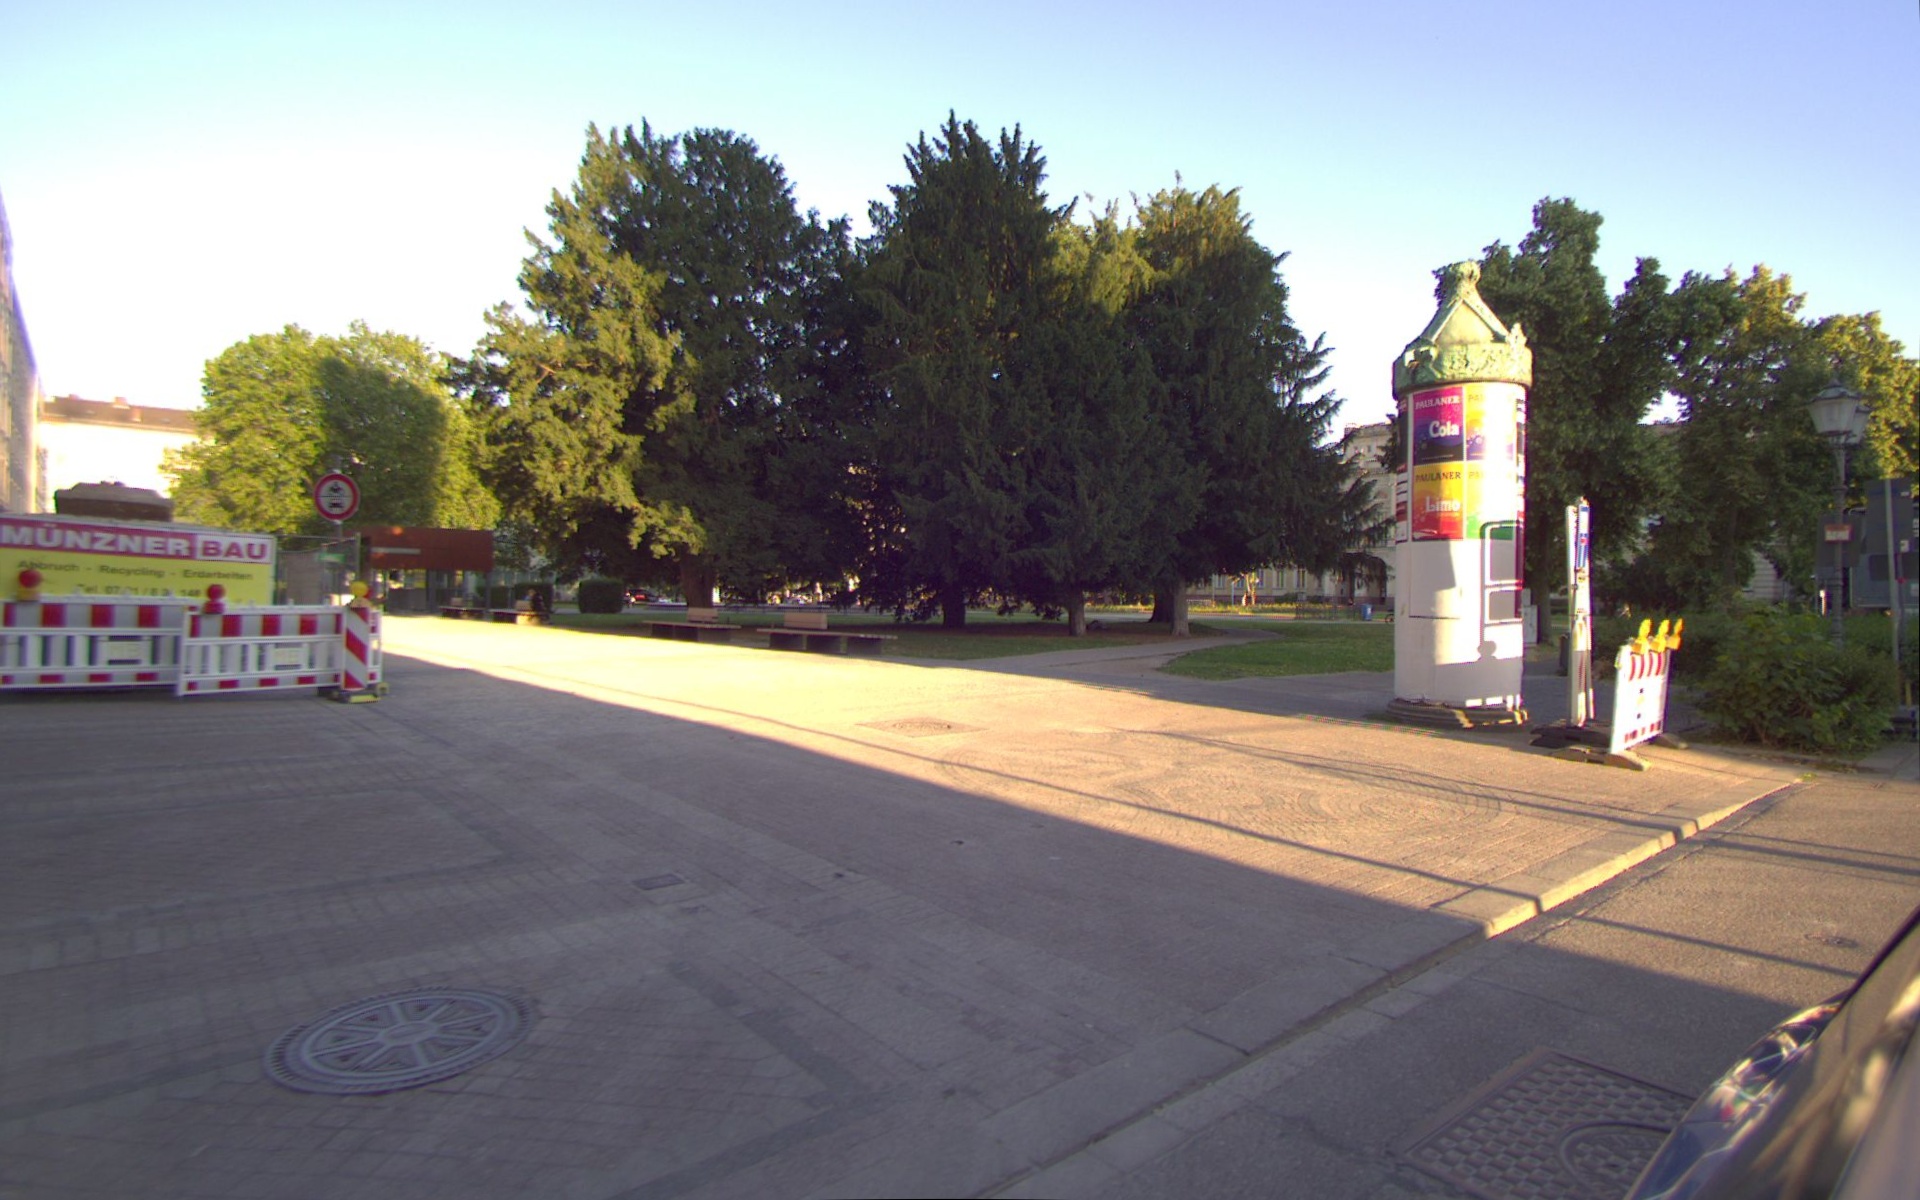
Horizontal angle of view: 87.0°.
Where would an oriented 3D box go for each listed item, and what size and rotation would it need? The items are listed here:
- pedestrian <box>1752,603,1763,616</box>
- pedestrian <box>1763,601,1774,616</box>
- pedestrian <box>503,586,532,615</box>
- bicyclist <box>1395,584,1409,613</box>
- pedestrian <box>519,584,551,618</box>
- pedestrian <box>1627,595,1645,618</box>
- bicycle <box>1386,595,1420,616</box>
[{"bbox_3d":[65.176,0.775,82.735,0.593,1.123,0.395,1,0,4],"label":"pedestrian"},{"bbox_3d":[66.093,0.687,82.705,0.594,1.217,0.394,1,0,9],"label":"pedestrian"},{"bbox_3d":[-16.803,0.011,38.454,0.820,1.106,0.708,0,0,-44],"label":"pedestrian"},{"bbox_3d":[25.994,-0.097,59.529,0.667,1.652,0.656,1,0,15],"label":"bicyclist"},{"bbox_3d":[-15.935,0.023,37.925,0.707,1.267,0.912,1,0,45],"label":"pedestrian"},{"bbox_3d":[47.265,0.453,70.731,0.744,1.646,0.858,1,0,-42],"label":"pedestrian"},{"bbox_3d":[26.062,0.317,59.516,1.749,1.191,0.563,1,0,15],"label":"bicycle"}]
